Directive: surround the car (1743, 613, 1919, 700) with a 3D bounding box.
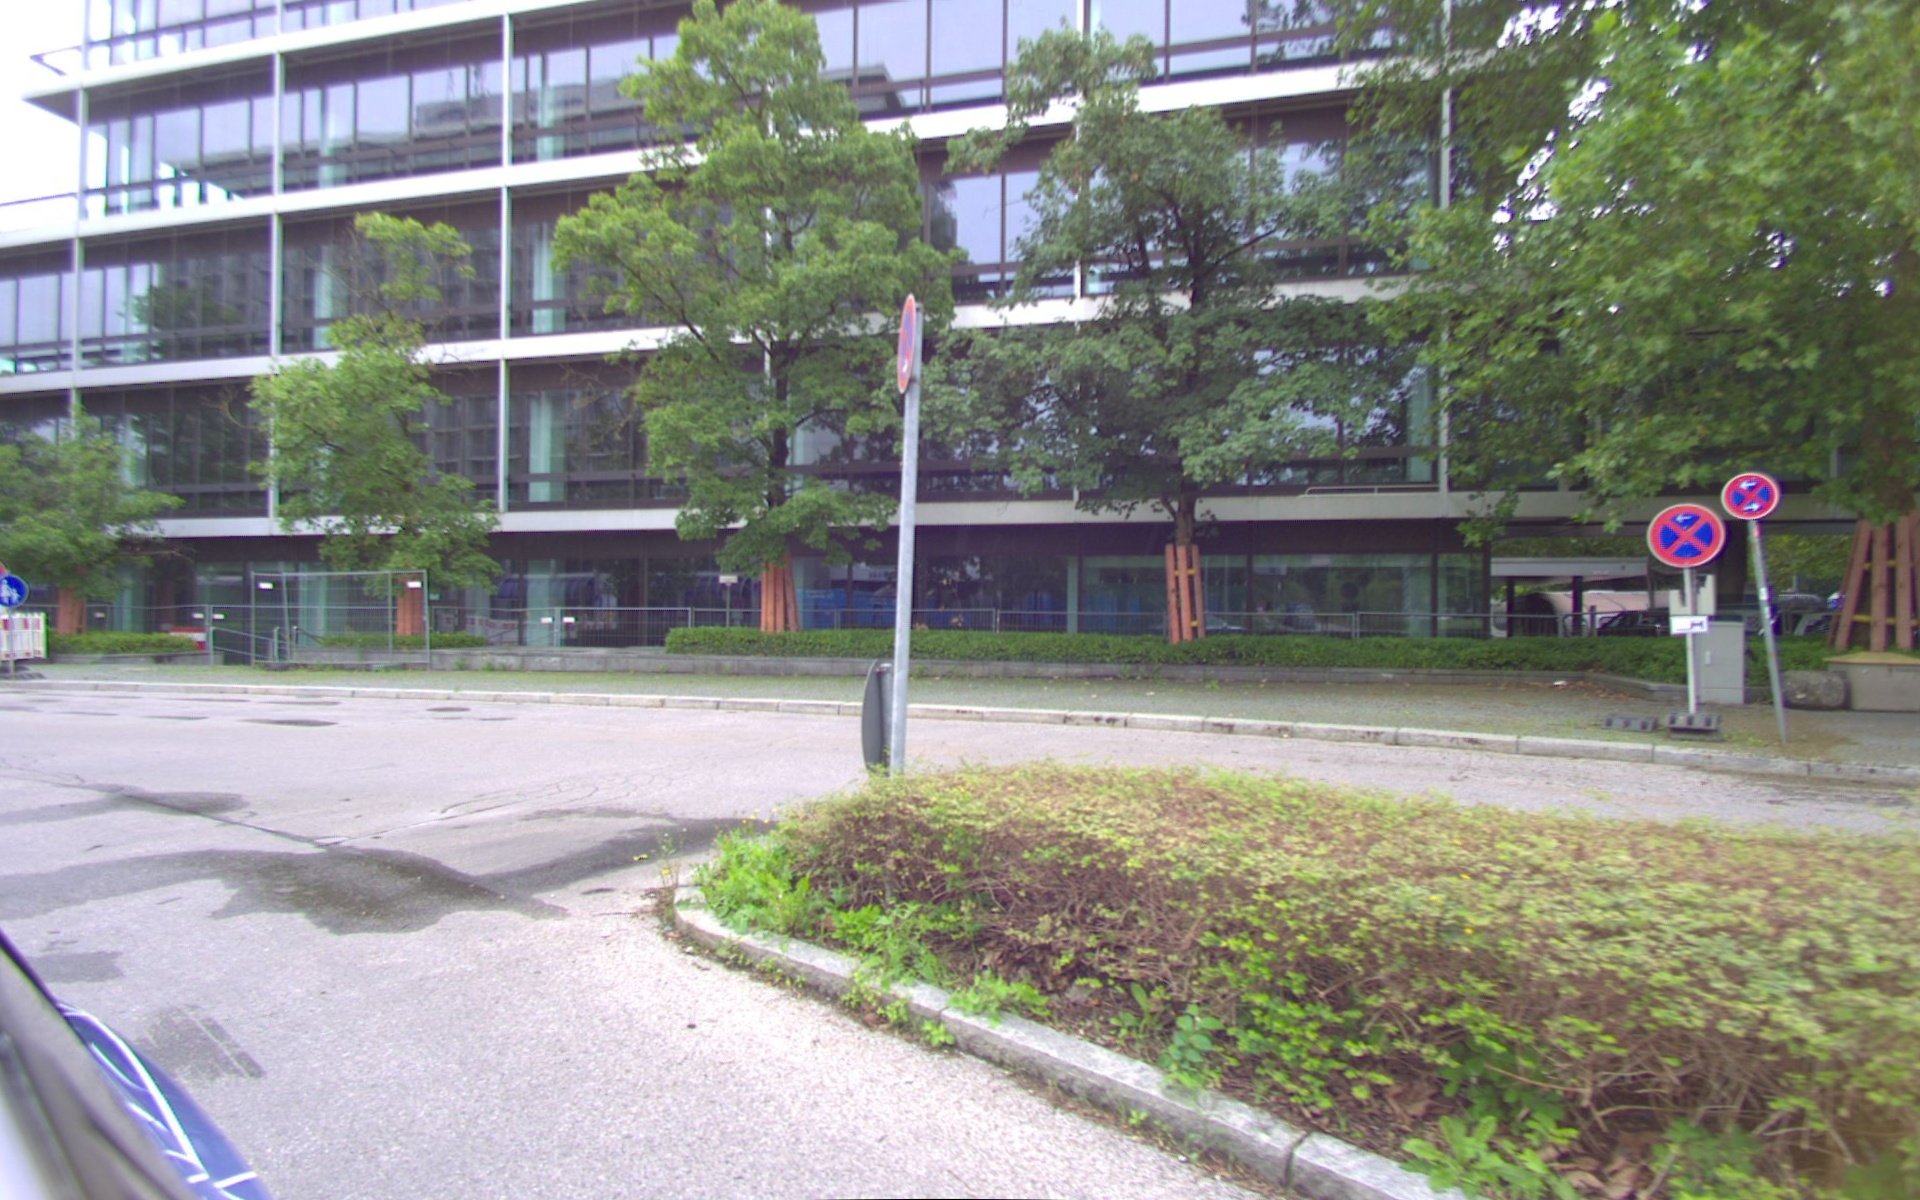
[{"bbox_3d":[16.751,0.983,18.124,3.826,1.484,1.903,0,-1,16],"label":"car"}]

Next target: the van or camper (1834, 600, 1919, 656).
[{"bbox_3d":[45.527,1.348,49.361,2.253,2.615,4.636,0,-2,10],"label":"van or camper"}]

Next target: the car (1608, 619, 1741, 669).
[{"bbox_3d":[22.525,1.336,32.118,1.891,1.484,3.850,0,-1,9],"label":"car"}]
